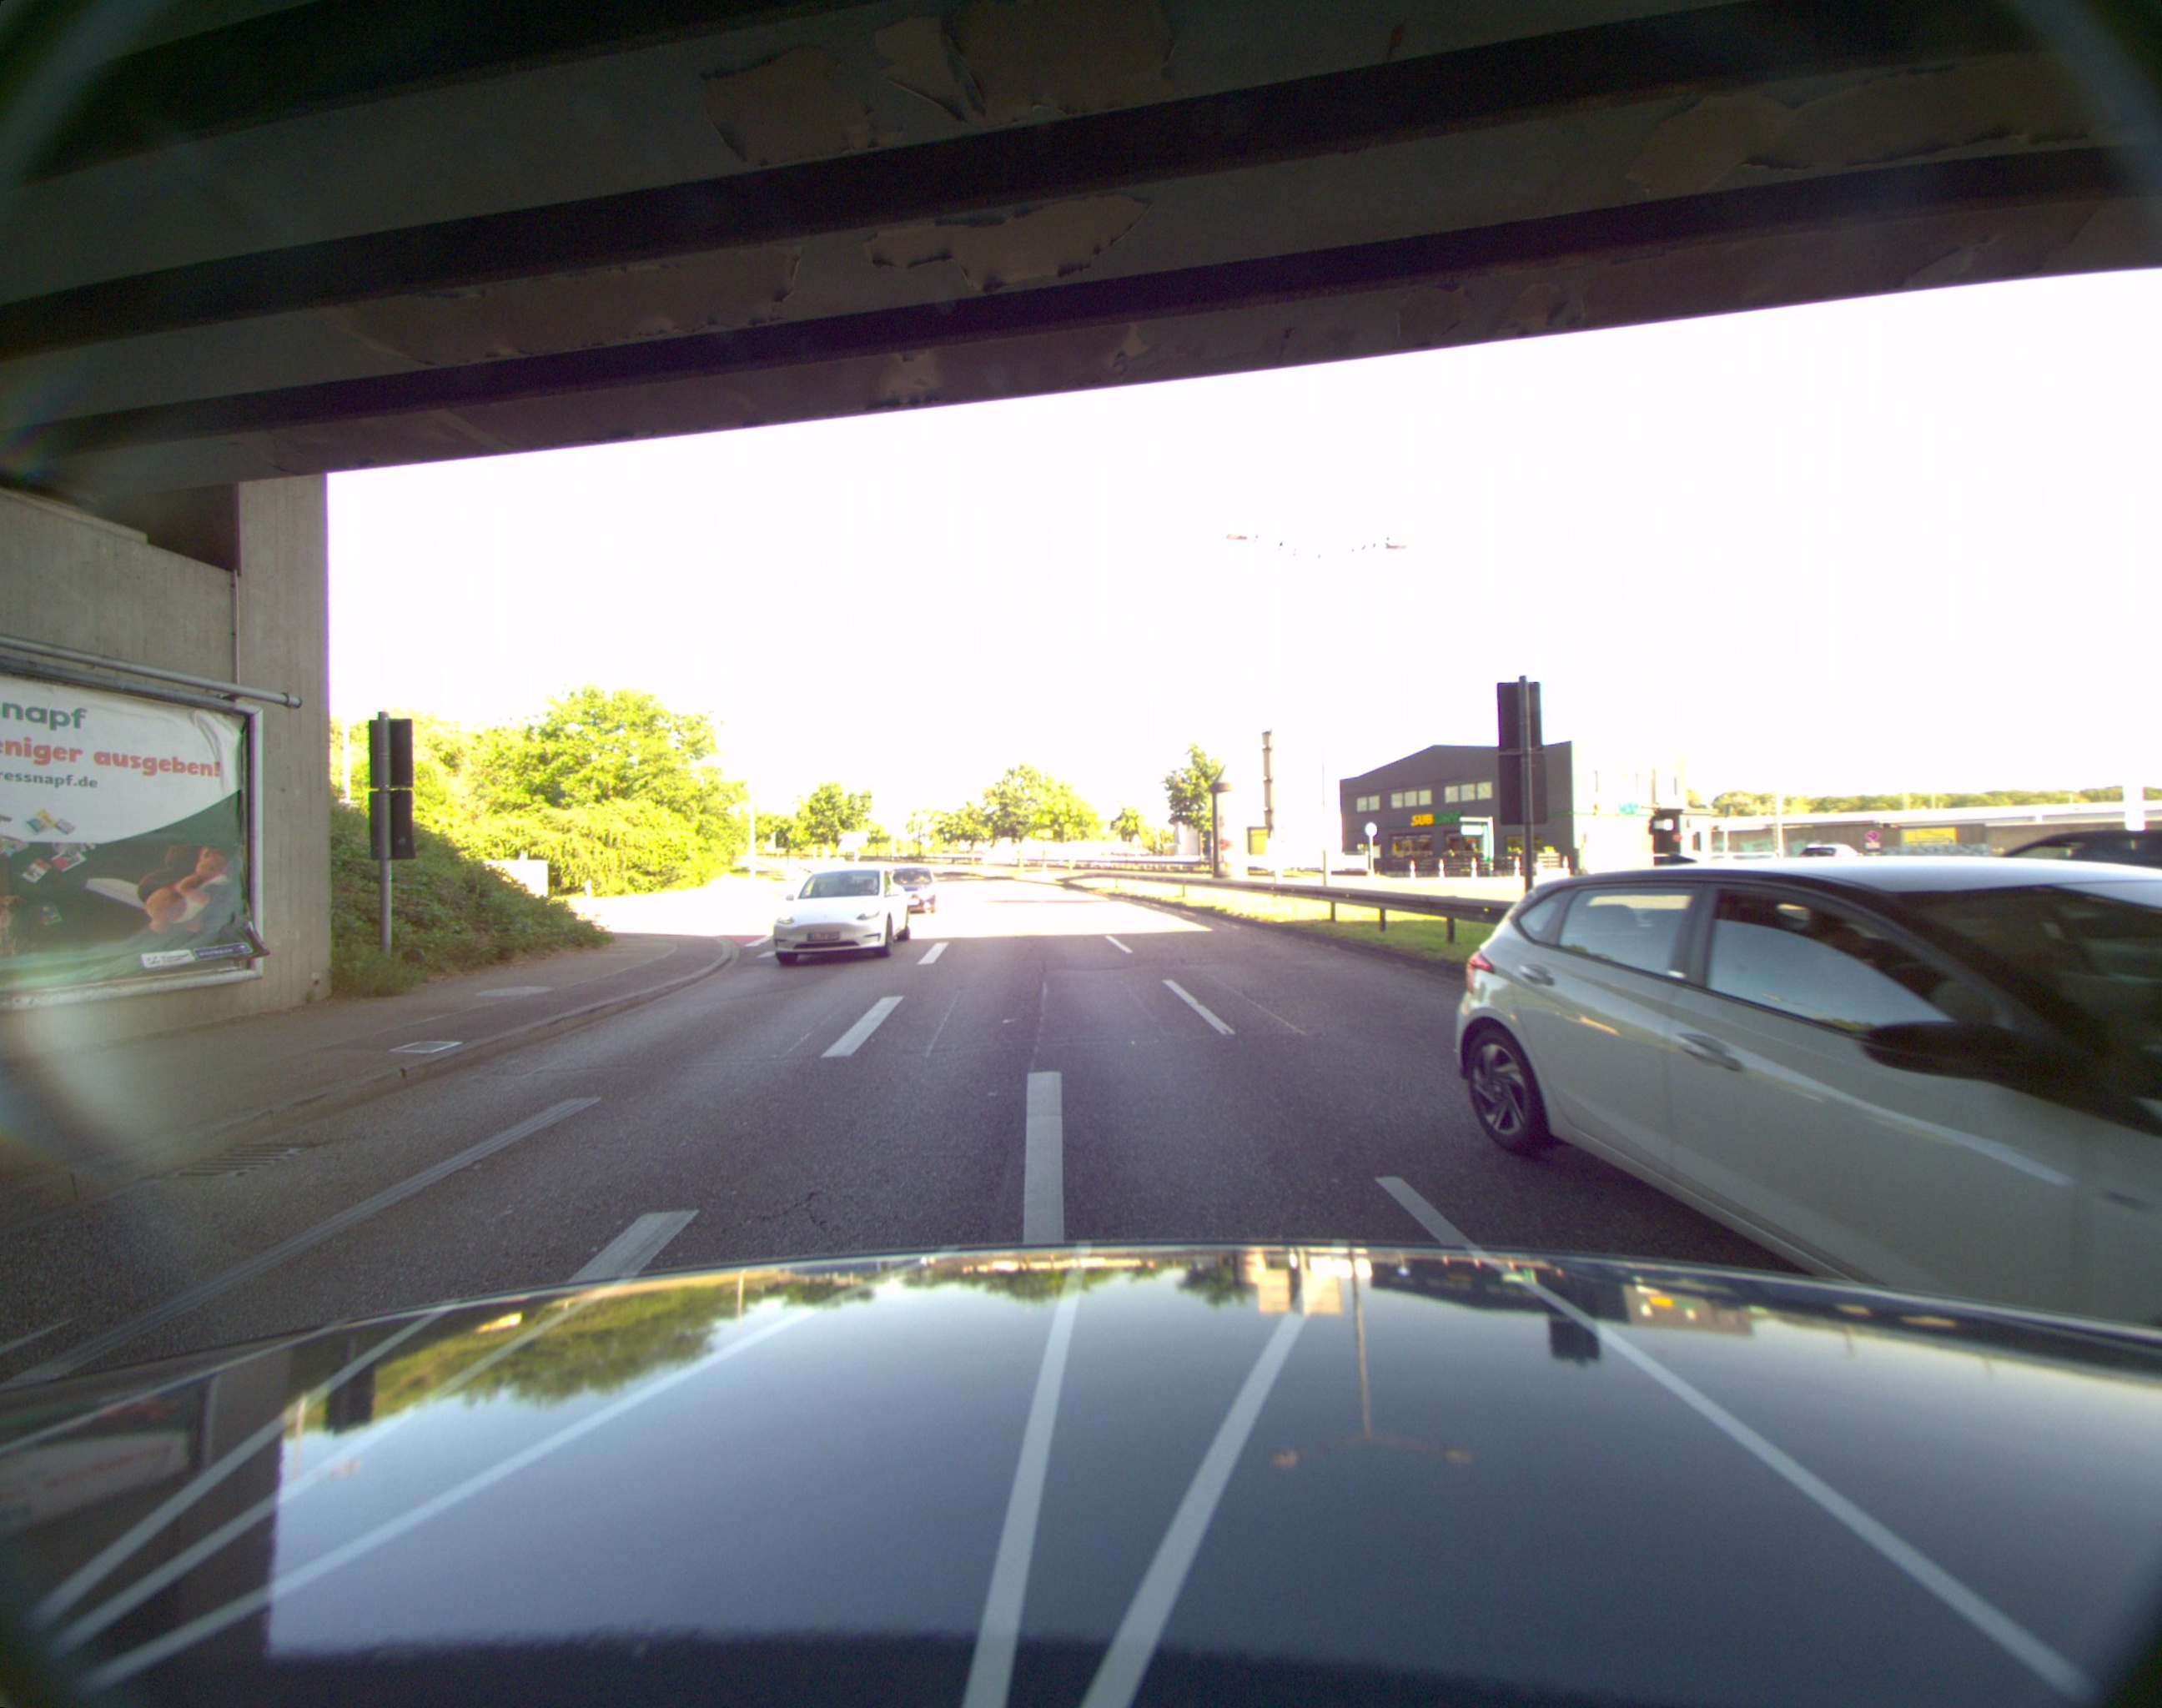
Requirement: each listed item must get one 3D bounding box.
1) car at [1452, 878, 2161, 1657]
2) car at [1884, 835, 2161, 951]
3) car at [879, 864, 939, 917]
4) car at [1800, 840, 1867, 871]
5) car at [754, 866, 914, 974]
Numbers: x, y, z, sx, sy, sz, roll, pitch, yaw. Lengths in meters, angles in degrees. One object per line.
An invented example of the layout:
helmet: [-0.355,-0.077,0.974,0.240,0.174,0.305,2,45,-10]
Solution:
car: [2.950,0.855,2.192,1.737,1.396,3.870,-2,0,-2]
car: [15.667,0.525,11.632,1.857,1.607,4.361,-1,0,-9]
car: [-5.987,1.201,26.850,1.780,1.591,4.101,-3,1,-10]
car: [38.506,0.067,38.858,4.007,1.434,1.878,-3,1,-37]
car: [-4.513,1.110,14.640,1.999,1.542,4.418,-3,1,-6]
